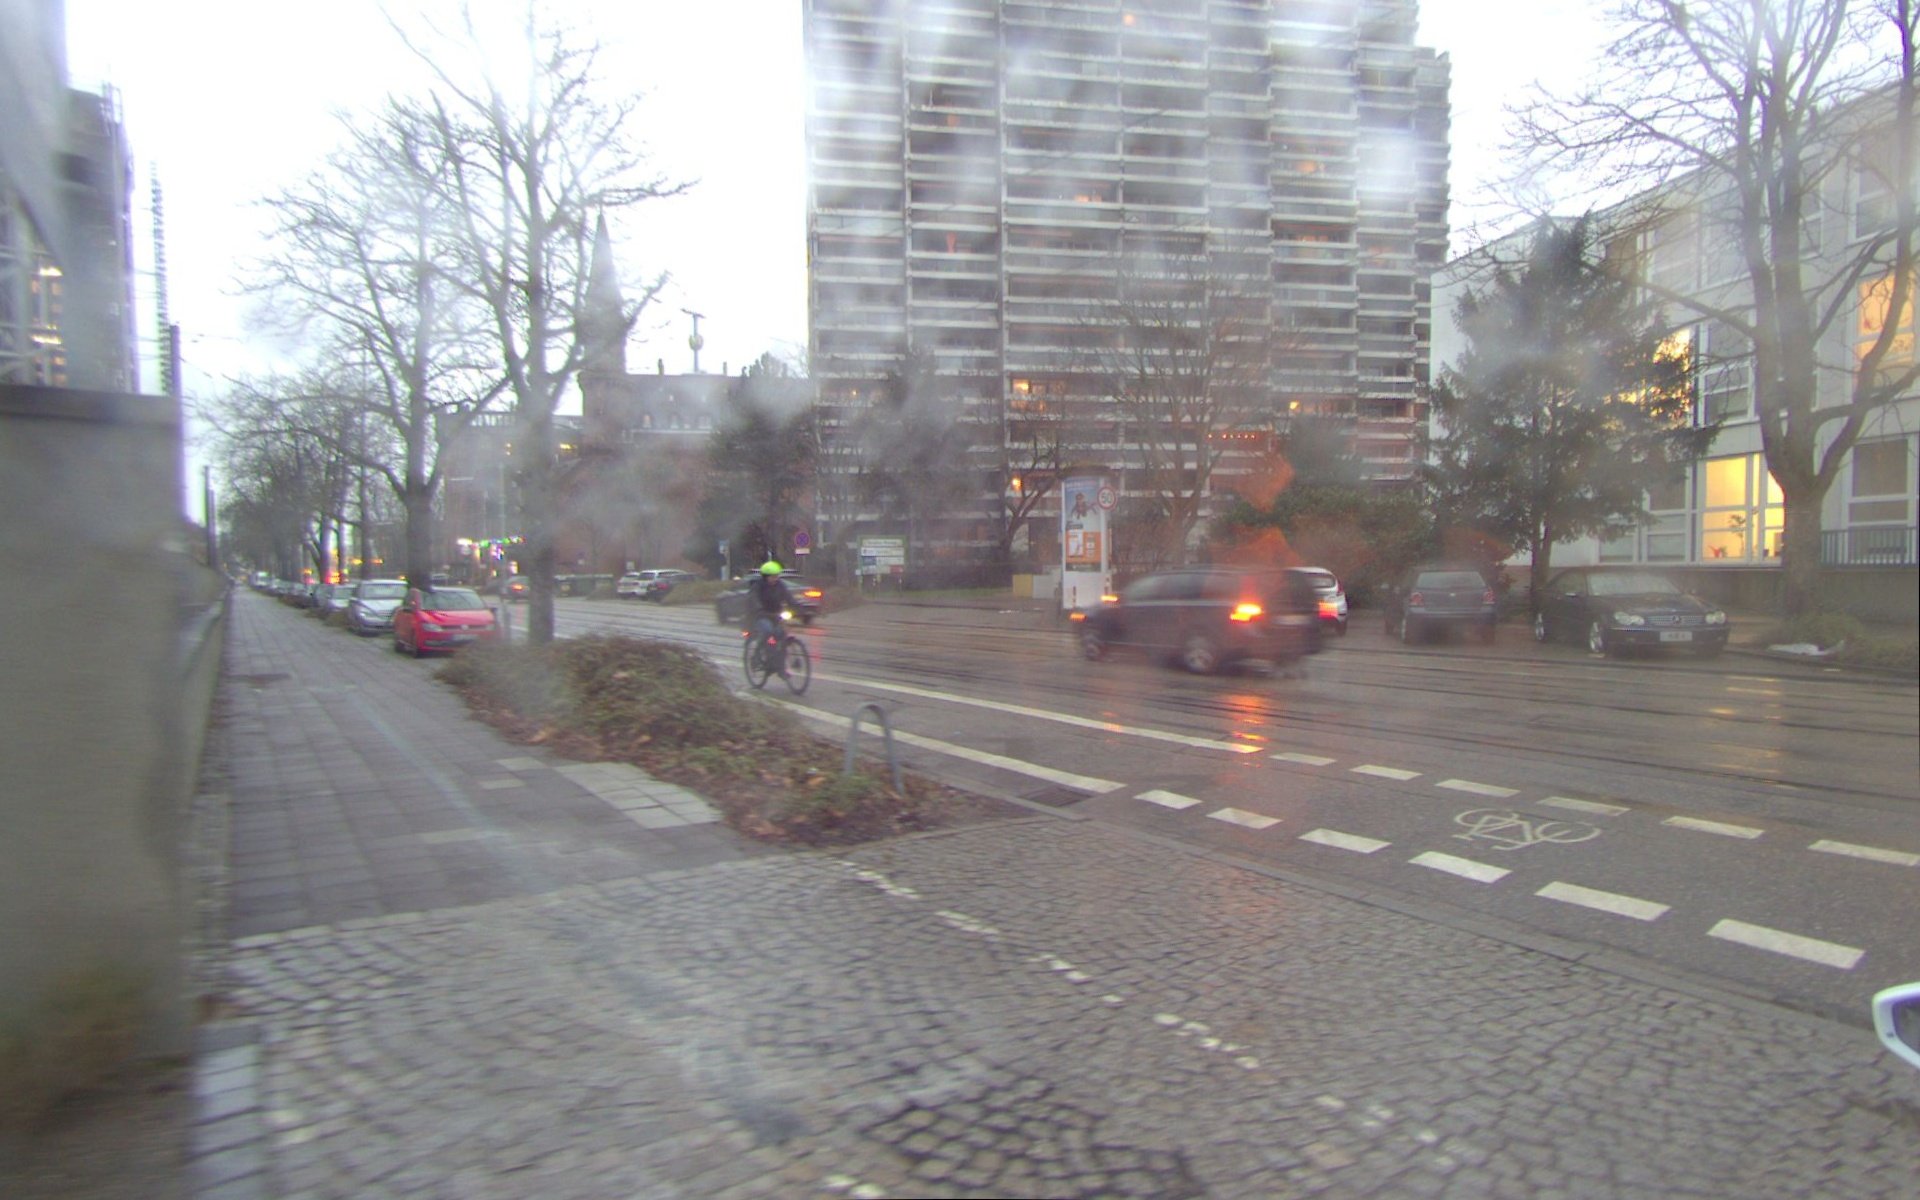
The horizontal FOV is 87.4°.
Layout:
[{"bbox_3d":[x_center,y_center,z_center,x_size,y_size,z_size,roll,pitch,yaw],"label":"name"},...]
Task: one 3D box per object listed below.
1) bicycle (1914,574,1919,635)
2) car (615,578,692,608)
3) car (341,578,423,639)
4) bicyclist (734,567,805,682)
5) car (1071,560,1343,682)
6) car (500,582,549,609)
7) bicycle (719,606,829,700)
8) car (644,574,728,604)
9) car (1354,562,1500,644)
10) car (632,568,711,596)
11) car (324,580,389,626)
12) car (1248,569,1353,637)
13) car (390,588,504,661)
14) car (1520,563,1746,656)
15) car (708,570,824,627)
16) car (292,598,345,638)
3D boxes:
[{"bbox_3d":[19.125,0.070,18.907,2.168,1.136,0.640,-1,1,-14],"label":"bicycle"},{"bbox_3d":[-17.841,-0.396,58.533,3.953,1.662,1.984,-1,1,-31],"label":"car"},{"bbox_3d":[-16.595,0.209,28.780,1.736,1.605,3.700,-1,1,-34],"label":"car"},{"bbox_3d":[-2.540,0.302,13.359,0.651,1.466,0.841,-2,1,-33],"label":"bicyclist"},{"bbox_3d":[3.545,0.243,15.263,1.729,1.565,4.268,-1,1,-25],"label":"car"},{"bbox_3d":[-24.429,-0.252,56.287,1.750,1.430,3.959,-2,1,-36],"label":"car"},{"bbox_3d":[-2.497,0.655,13.298,0.702,1.111,2.010,-1,1,-33],"label":"bicycle"},{"bbox_3d":[-14.397,-0.602,52.804,3.953,1.506,1.658,-1,1,-31],"label":"car"},{"bbox_3d":[9.365,0.028,20.479,1.818,1.482,4.002,-1,1,12],"label":"car"},{"bbox_3d":[-16.088,-0.987,56.000,3.953,1.506,1.658,-1,1,-31],"label":"car"},{"bbox_3d":[-22.575,0.091,37.524,1.848,1.615,3.962,-1,1,-34],"label":"car"},{"bbox_3d":[7.746,0.030,23.202,1.818,1.418,4.002,-1,1,12],"label":"car"},{"bbox_3d":[-11.197,0.475,21.823,1.736,1.406,3.700,-1,1,-34],"label":"car"},{"bbox_3d":[11.239,0.120,17.135,1.818,1.397,4.002,-1,1,12],"label":"car"},{"bbox_3d":[-5.936,-0.062,30.375,1.696,1.600,4.333,-2,1,-37],"label":"car"},{"bbox_3d":[-28.527,0.763,44.634,1.848,1.615,3.962,-1,1,-34],"label":"car"}]
